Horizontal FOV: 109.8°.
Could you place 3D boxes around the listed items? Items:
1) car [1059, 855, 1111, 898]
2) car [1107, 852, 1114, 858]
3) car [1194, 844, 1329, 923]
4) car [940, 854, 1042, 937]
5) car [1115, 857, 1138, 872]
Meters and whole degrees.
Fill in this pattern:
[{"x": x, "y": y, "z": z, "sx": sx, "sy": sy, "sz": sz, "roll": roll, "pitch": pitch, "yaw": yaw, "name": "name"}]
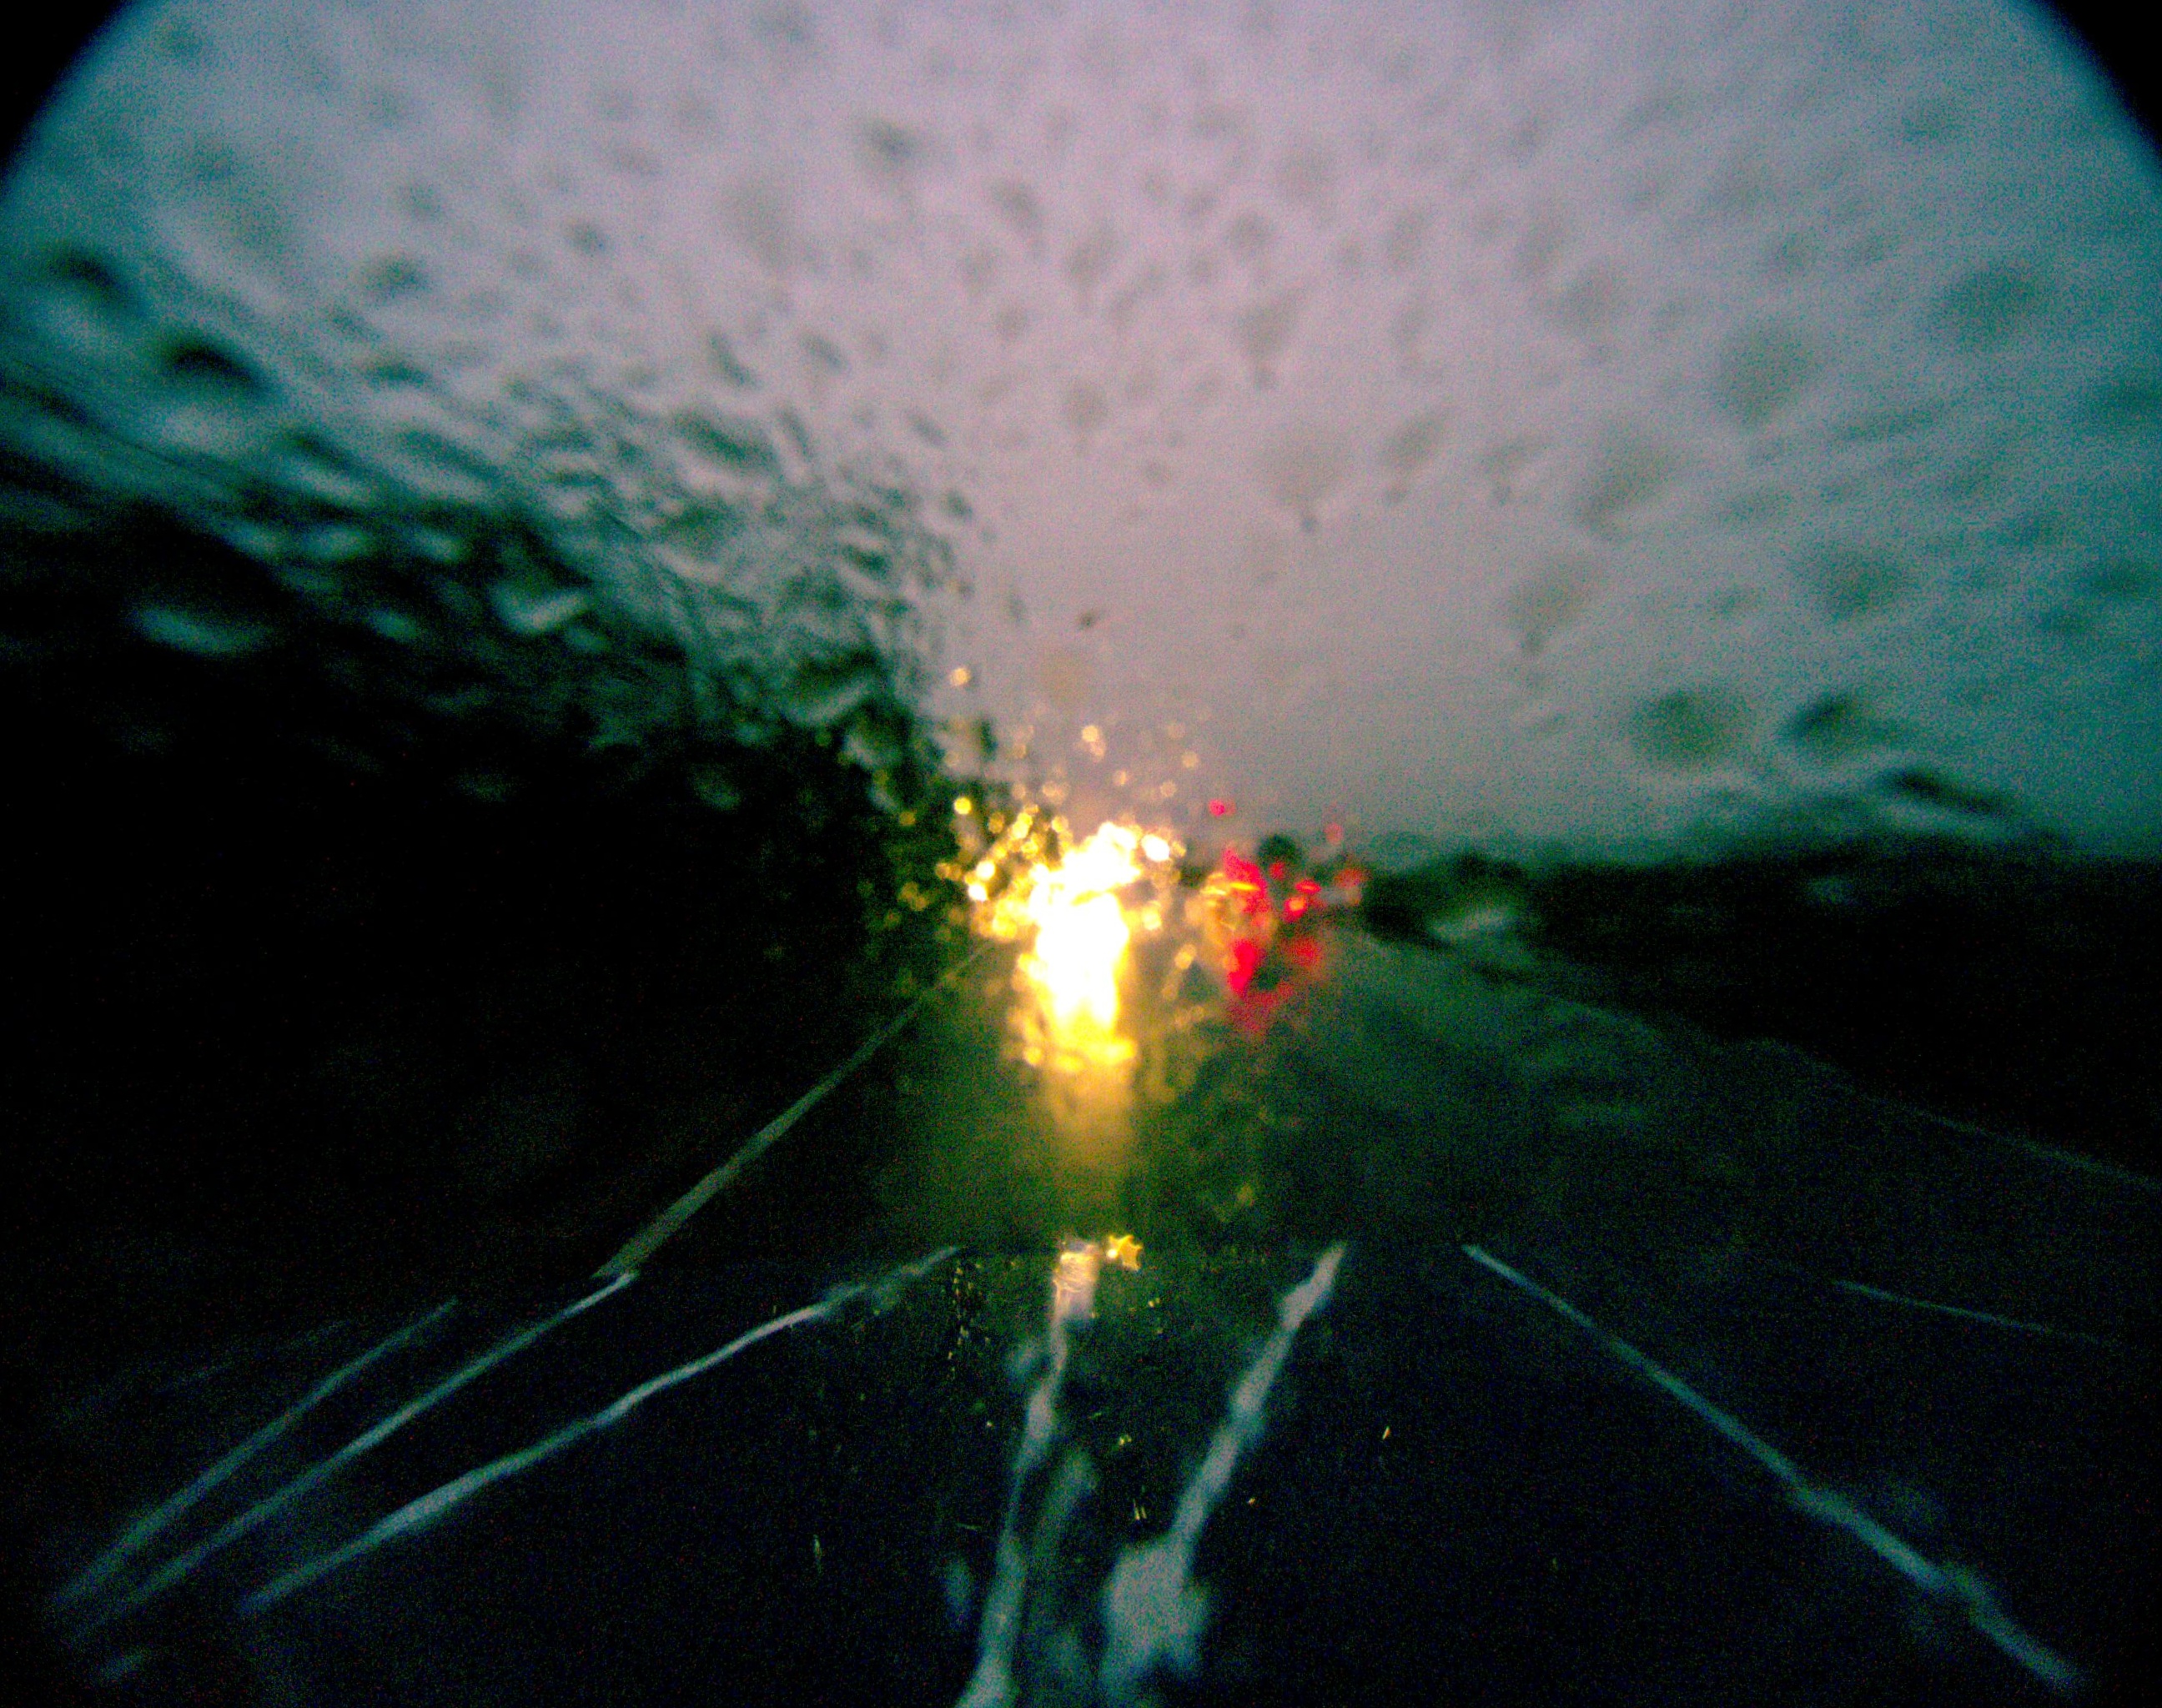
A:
[{"x": 0.156, "y": 0.830, "z": 29.633, "sx": 1.844, "sy": 1.484, "sz": 3.955, "roll": -2, "pitch": 1, "yaw": 0, "name": "car"}, {"x": 8.672, "y": 0.330, "z": 223.540, "sx": 1.733, "sy": 1.636, "sz": 4.261, "roll": 2, "pitch": 0, "yaw": 1, "name": "car"}, {"x": 3.907, "y": 0.560, "z": 17.245, "sx": 1.998, "sy": 1.455, "sz": 4.351, "roll": 3, "pitch": 1, "yaw": 1, "name": "car"}, {"x": -2.089, "y": 0.905, "z": 18.708, "sx": 1.933, "sy": 1.740, "sz": 4.000, "roll": -2, "pitch": 1, "yaw": 1, "name": "car"}, {"x": 4.337, "y": 0.999, "z": 73.572, "sx": 1.998, "sy": 1.364, "sz": 4.397, "roll": -2, "pitch": 1, "yaw": 1, "name": "car"}]
